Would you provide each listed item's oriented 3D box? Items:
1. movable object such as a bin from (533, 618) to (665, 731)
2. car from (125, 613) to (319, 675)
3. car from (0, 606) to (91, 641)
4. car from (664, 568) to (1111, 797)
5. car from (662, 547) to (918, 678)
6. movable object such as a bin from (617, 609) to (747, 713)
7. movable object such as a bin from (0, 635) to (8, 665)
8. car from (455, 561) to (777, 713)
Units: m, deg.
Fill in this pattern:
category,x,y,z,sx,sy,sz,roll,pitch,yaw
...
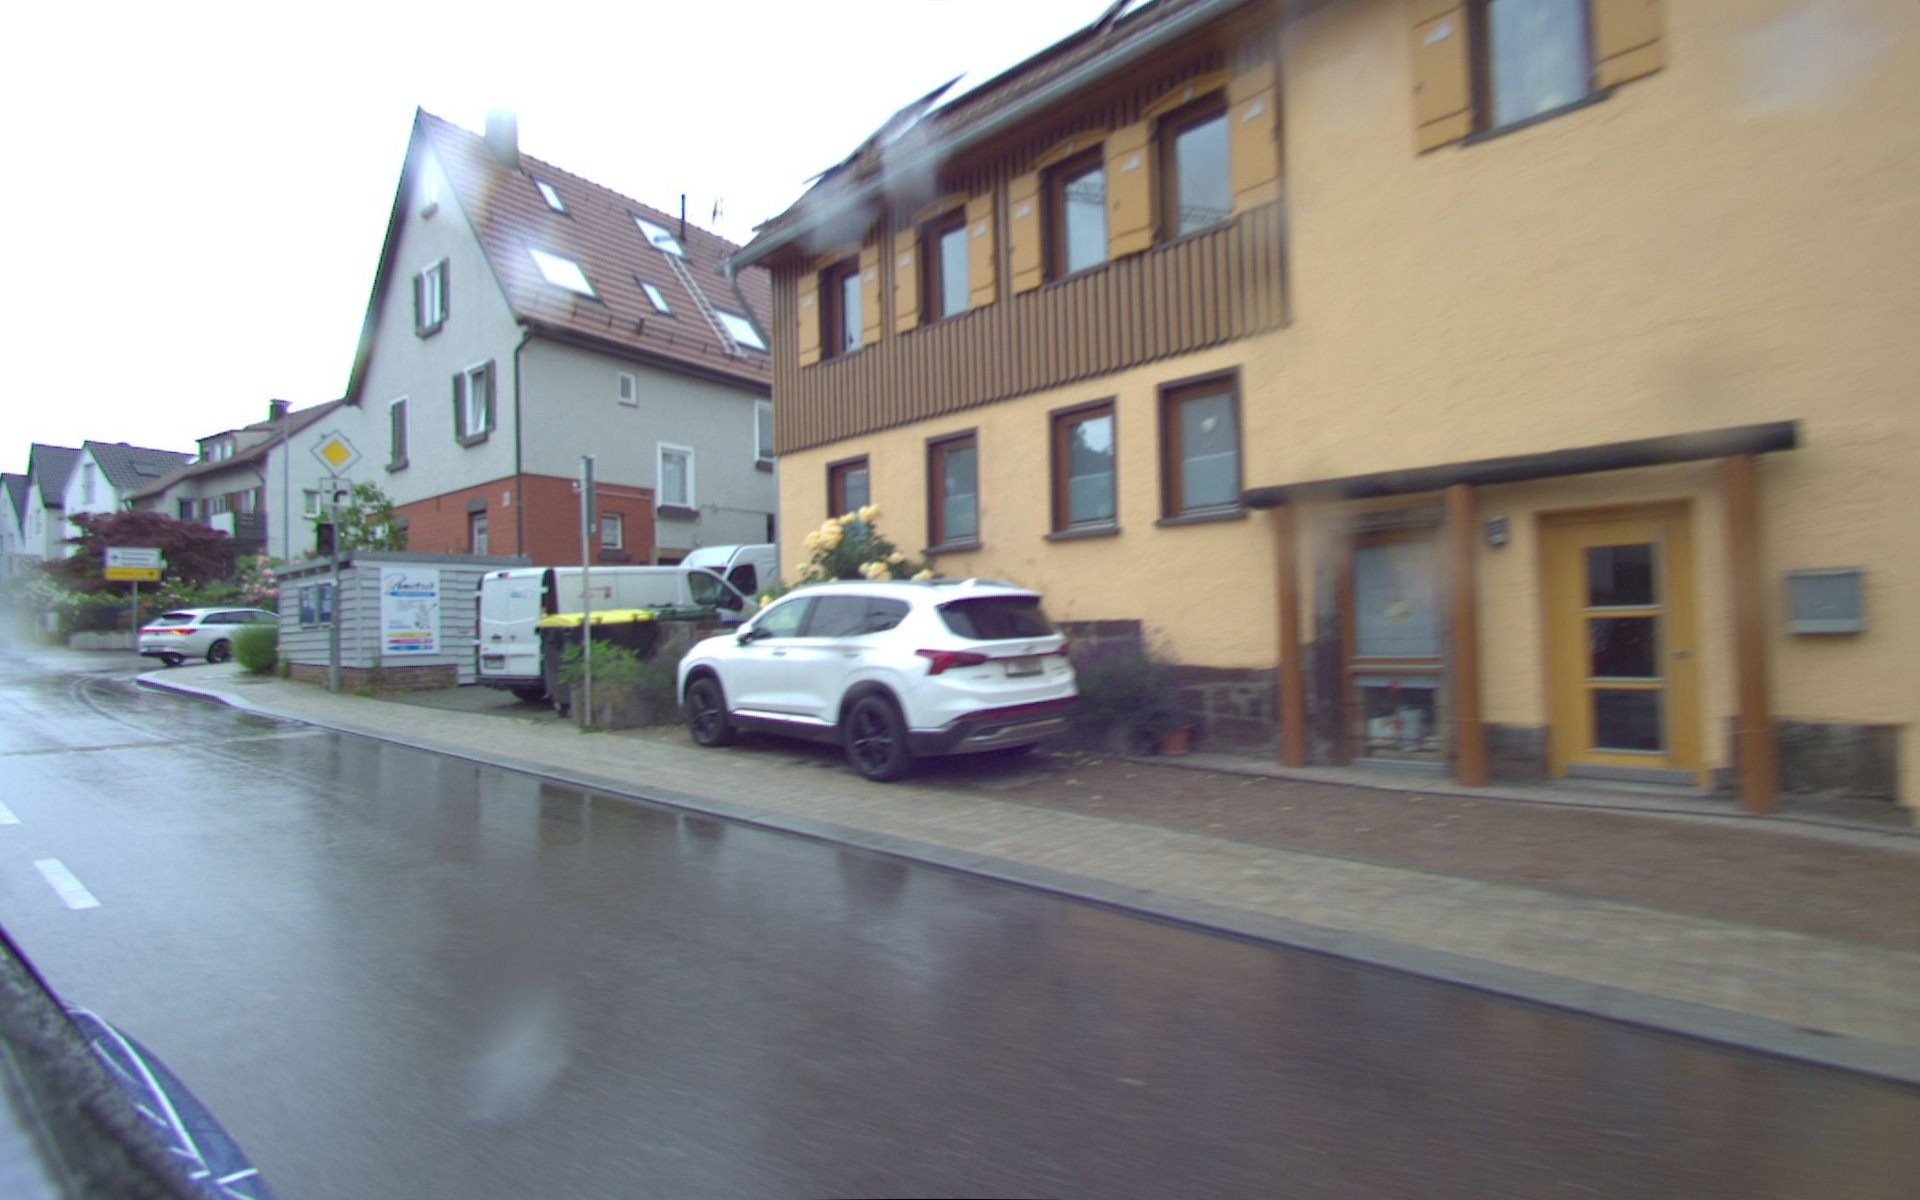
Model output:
category,x,y,z,sx,sy,sz,roll,pitch,yaw
movable object such as a bin,-4.661,0.923,13.088,0.995,1.378,1.273,-1,-2,39
car,-19.364,1.087,26.804,1.575,1.419,4.193,0,0,12
car,-47.426,1.176,51.937,1.774,1.719,3.959,-1,-1,30
car,-0.934,0.665,9.864,1.792,1.719,4.620,1,-2,-44
car,-3.598,0.190,22.662,2.066,2.547,5.790,-1,1,37
movable object such as a bin,-3.966,0.836,14.518,0.995,1.378,1.492,-1,0,39
movable object such as a bin,-34.180,1.782,35.942,0.414,1.034,0.515,-1,-1,42
car,-5.220,0.465,15.995,1.994,1.993,4.473,-3,1,33
